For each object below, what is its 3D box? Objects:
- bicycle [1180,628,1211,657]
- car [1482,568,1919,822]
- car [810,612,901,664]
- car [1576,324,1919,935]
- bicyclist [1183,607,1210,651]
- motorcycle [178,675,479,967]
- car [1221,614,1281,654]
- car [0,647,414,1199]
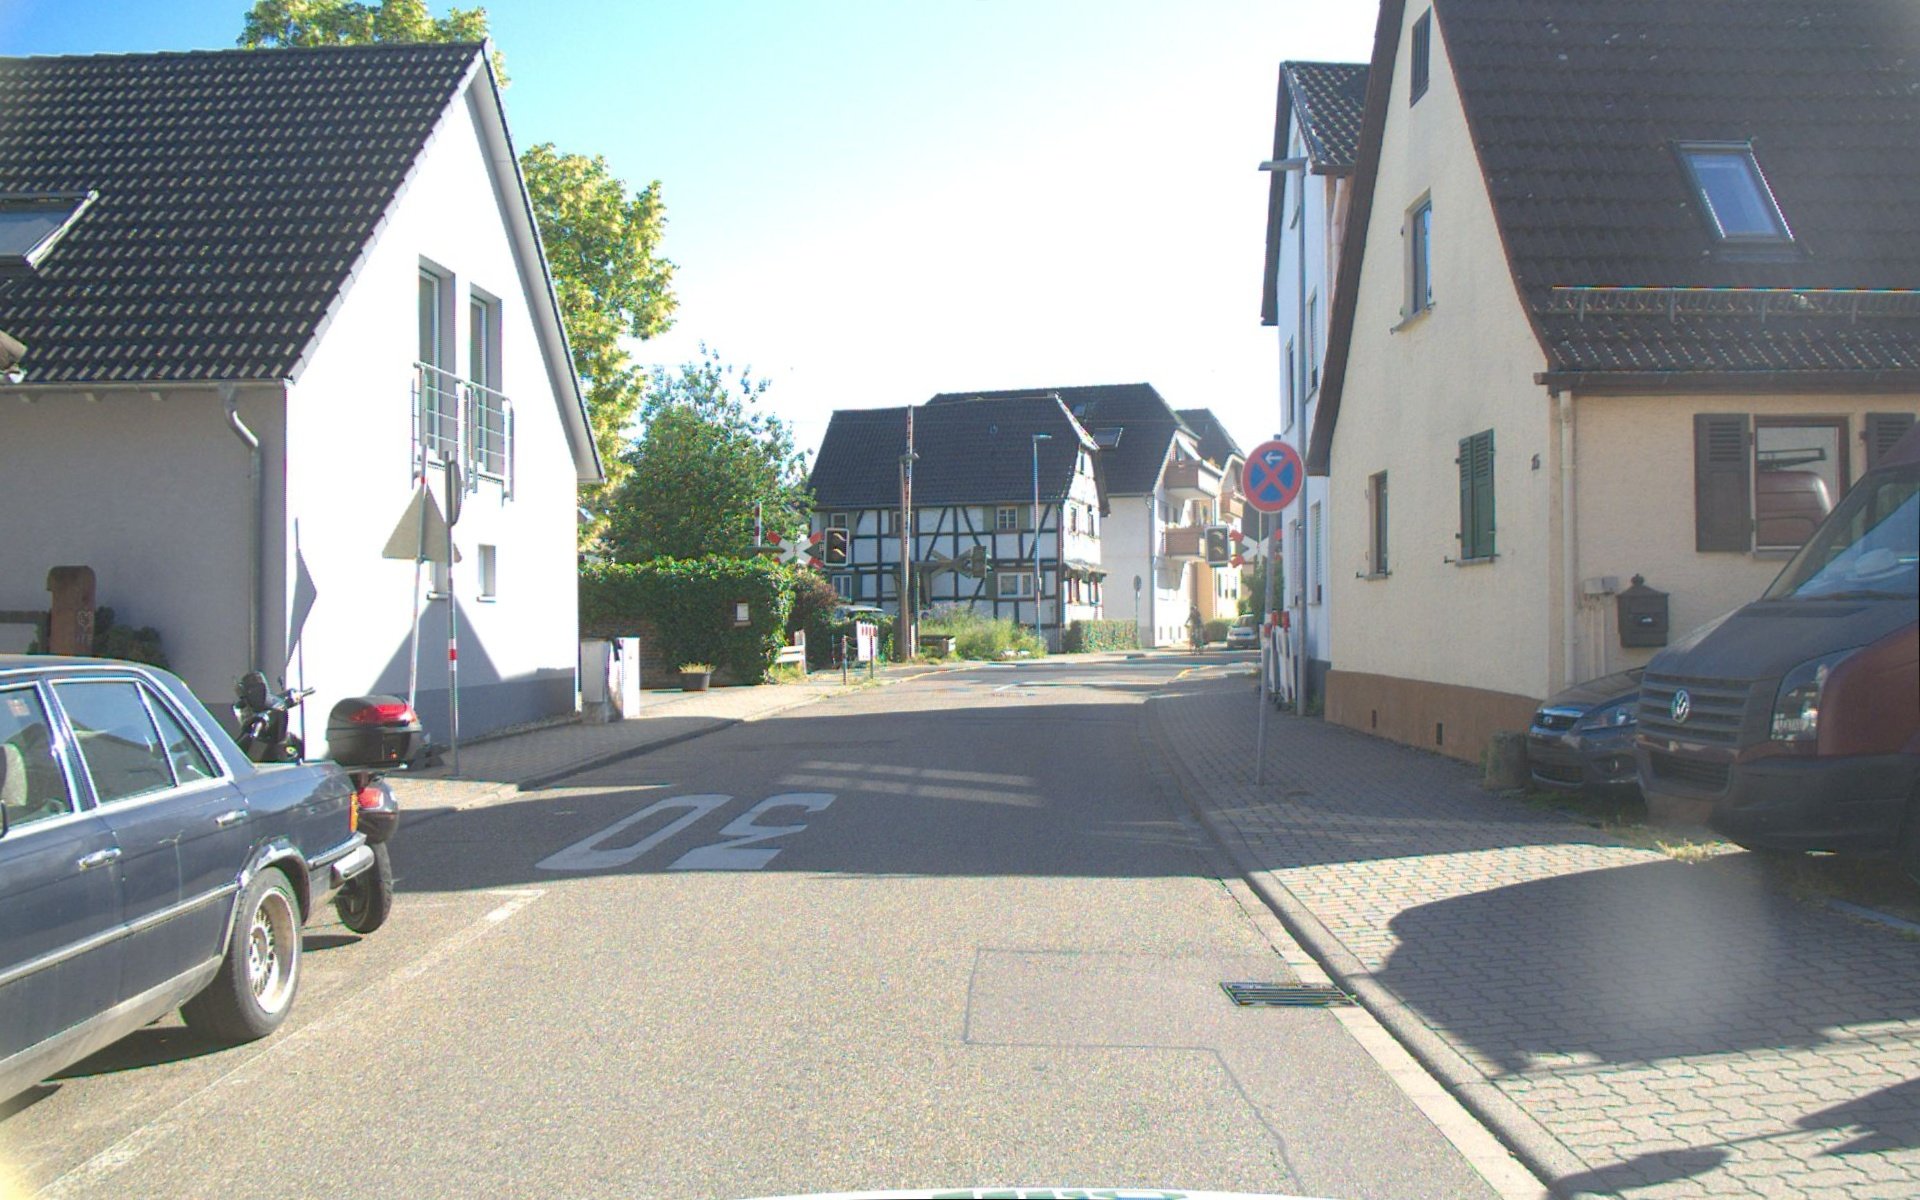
[{"bbox_3d":[8.428,1.518,59.139,0.864,1.023,2.064,-1,-2,14],"label":"bicycle"},{"bbox_3d":[6.128,0.580,11.594,4.287,1.513,1.839,-3,-1,-3],"label":"car"},{"bbox_3d":[-3.422,1.225,53.484,1.661,1.592,3.970,2,-1,-24],"label":"car"},{"bbox_3d":[6.450,0.035,8.586,5.690,2.701,1.965,-3,-2,-5],"label":"car"},{"bbox_3d":[8.462,1.042,59.179,0.830,1.568,0.874,0,-2,15],"label":"bicyclist"},{"bbox_3d":[-3.208,1.028,8.295,1.960,1.253,0.622,-2,-1,44],"label":"motorcycle"},{"bbox_3d":[12.573,1.444,71.379,1.598,1.532,3.851,-5,-2,24],"label":"car"},{"bbox_3d":[-3.297,0.904,4.726,1.807,1.431,5.035,-2,-1,-1],"label":"car"}]
